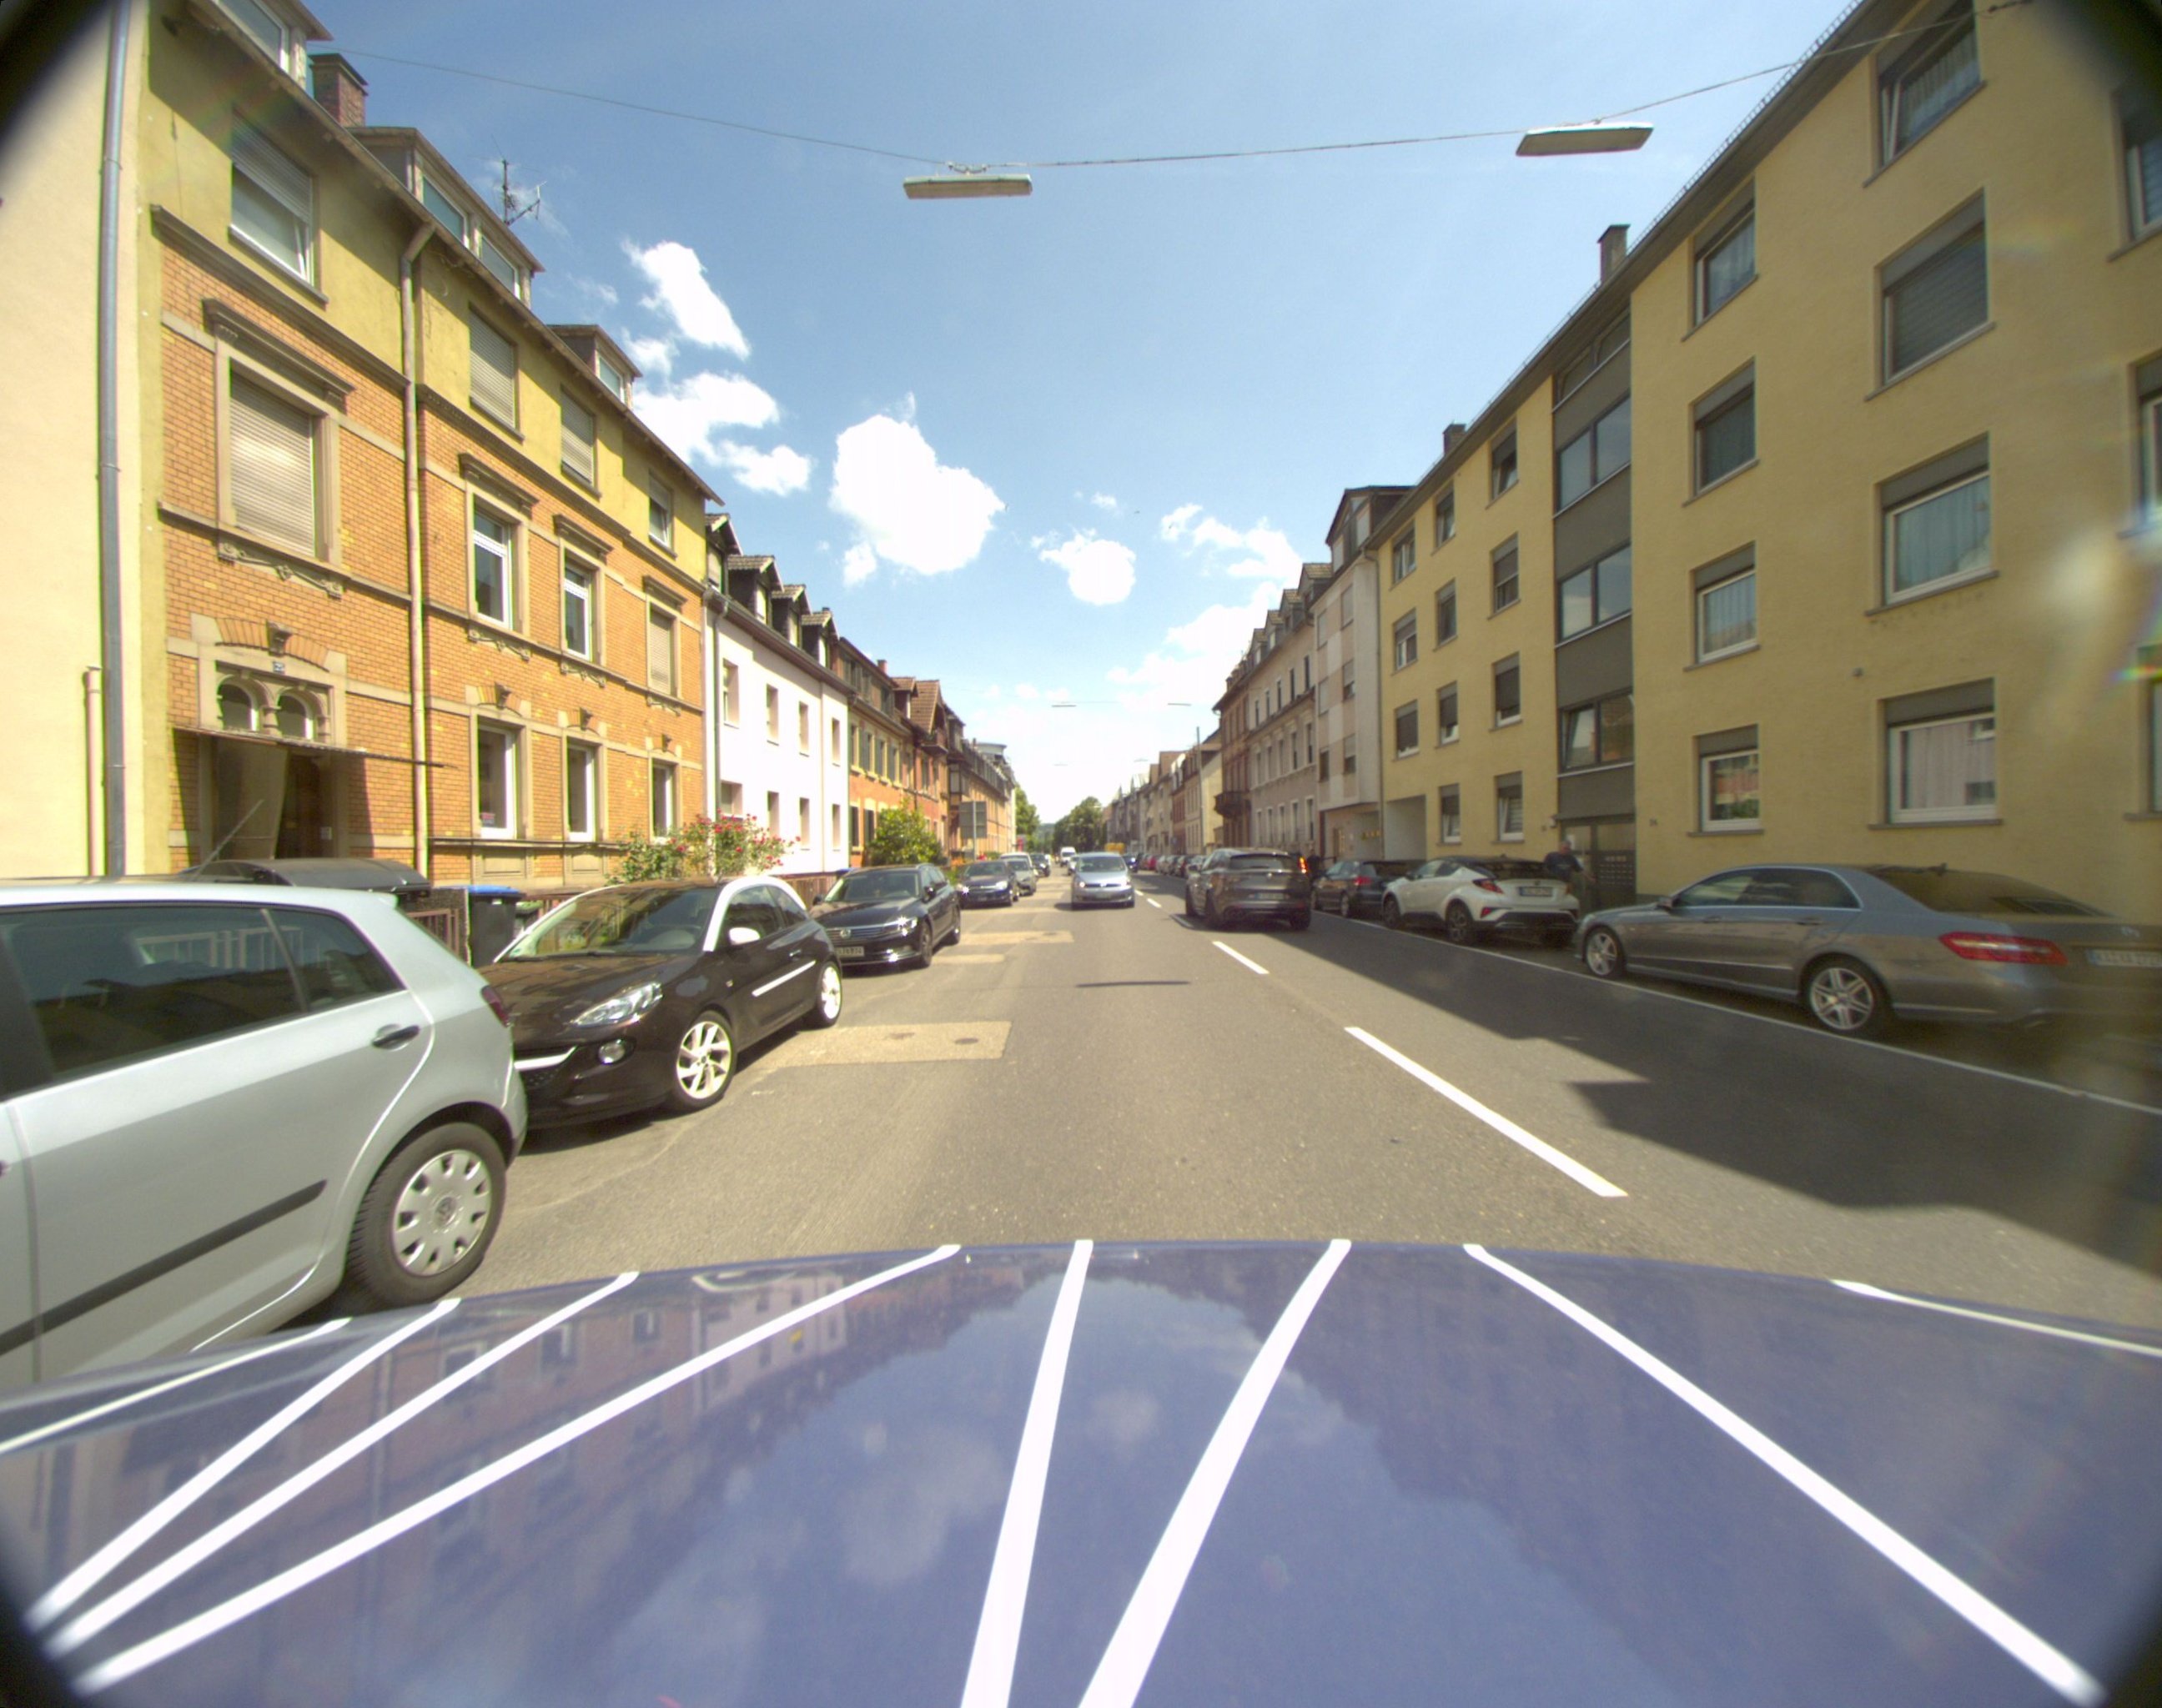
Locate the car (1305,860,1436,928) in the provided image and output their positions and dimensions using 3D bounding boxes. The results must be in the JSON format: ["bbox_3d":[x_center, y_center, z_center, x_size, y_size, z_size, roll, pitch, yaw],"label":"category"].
[{"bbox_3d":[6.987,0.900,18.797,1.749,1.402,3.915,2,0,1],"label":"car"}]

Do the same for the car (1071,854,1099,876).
[{"bbox_3d":[0.303,0.782,55.524,1.904,1.489,4.487,-2,0,2],"label":"car"}]

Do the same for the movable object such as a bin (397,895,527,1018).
[{"bbox_3d":[-6.486,1.047,8.002,0.723,1.181,0.747,-1,1,-1],"label":"movable object such as a bin"}]

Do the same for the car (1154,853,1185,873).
[{"bbox_3d":[6.951,0.686,60.224,1.749,1.402,4.103,2,0,-3],"label":"car"}]

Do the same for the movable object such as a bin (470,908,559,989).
[{"bbox_3d":[-7.035,1.164,9.459,0.626,0.923,0.612,-1,1,-1],"label":"movable object such as a bin"}]

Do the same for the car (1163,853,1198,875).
[{"bbox_3d":[7.100,0.687,54.511,1.749,1.402,4.103,2,0,-3],"label":"car"}]

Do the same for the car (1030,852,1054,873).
[{"bbox_3d":[-3.161,0.673,62.394,1.708,1.618,3.930,-3,0,0],"label":"car"}]

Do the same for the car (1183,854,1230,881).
[{"bbox_3d":[7.116,0.746,43.392,1.749,1.402,4.103,2,0,-3],"label":"car"}]

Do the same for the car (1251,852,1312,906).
[{"bbox_3d":[6.695,0.767,25.319,1.746,1.579,3.958,2,0,16],"label":"car"}]

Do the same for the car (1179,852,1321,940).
[{"bbox_3d":[3.376,0.757,16.107,1.913,1.601,4.446,0,0,-1],"label":"car"}]

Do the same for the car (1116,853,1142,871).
[{"bbox_3d":[3.793,0.622,60.699,1.810,1.425,4.000,1,0,0],"label":"car"}]

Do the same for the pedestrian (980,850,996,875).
[{"bbox_3d":[-7.059,0.624,57.442,1.056,1.851,0.981,-1,1,0],"label":"pedestrian"}]

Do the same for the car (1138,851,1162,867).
[{"bbox_3d":[6.521,0.430,72.217,1.665,1.402,4.103,2,0,-3],"label":"car"}]

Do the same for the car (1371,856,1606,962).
[{"bbox_3d":[7.069,0.846,13.795,1.869,1.542,4.313,2,0,0],"label":"car"}]

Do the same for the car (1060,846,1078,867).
[{"bbox_3d":[-1.375,0.310,87.849,1.905,2.261,5.671,-2,0,-1],"label":"car"}]

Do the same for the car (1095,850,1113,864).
[{"bbox_3d":[2.550,0.355,84.552,1.810,1.522,4.000,1,0,0],"label":"car"}]

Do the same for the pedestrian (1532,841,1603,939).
[{"bbox_3d":[8.945,0.647,13.996,0.804,1.746,0.876,-1,1,8],"label":"pedestrian"}]

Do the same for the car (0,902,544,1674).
[{"bbox_3d":[-3.238,1.033,1.187,1.762,1.542,4.066,-3,0,1],"label":"car"}]

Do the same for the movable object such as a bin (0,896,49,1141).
[{"bbox_3d":[-6.831,0.956,3.831,1.285,1.388,1.413,-1,0,1],"label":"movable object such as a bin"}]

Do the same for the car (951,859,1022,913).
[{"bbox_3d":[-2.933,0.944,24.259,1.708,1.470,3.930,-3,0,0],"label":"car"}]

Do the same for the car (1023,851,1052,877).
[{"bbox_3d":[-2.985,0.682,52.822,1.708,1.618,3.930,-3,0,0],"label":"car"}]

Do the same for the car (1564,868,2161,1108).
[{"bbox_3d":[7.130,0.944,7.333,1.909,1.443,4.686,2,0,0],"label":"car"}]

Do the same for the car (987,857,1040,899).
[{"bbox_3d":[-2.633,0.905,30.299,1.708,1.470,3.930,-3,0,0],"label":"car"}]

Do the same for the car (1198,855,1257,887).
[{"bbox_3d":[7.047,0.789,37.041,1.749,1.402,4.512,2,0,-3],"label":"car"}]

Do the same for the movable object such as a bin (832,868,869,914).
[{"bbox_3d":[-6.383,1.010,21.093,0.753,1.235,0.877,-1,1,-1],"label":"movable object such as a bin"}]

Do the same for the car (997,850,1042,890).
[{"bbox_3d":[-2.856,0.703,35.897,1.708,1.700,3.930,-3,0,0],"label":"car"}]

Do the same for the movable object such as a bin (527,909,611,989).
[{"bbox_3d":[-6.388,1.170,9.504,0.626,0.923,0.612,-1,1,-1],"label":"movable object such as a bin"}]

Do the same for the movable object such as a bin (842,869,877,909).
[{"bbox_3d":[-6.394,0.991,21.937,0.753,1.091,0.877,-1,1,-1],"label":"movable object such as a bin"}]

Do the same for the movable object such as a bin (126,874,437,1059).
[{"bbox_3d":[-6.808,0.898,6.601,1.285,1.402,1.305,-1,0,1],"label":"movable object such as a bin"}]

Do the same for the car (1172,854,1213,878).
[{"bbox_3d":[7.128,0.746,49.010,1.749,1.402,4.103,2,0,-3],"label":"car"}]

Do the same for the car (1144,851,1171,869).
[{"bbox_3d":[6.668,0.493,66.772,1.665,1.402,4.103,2,0,-3],"label":"car"}]

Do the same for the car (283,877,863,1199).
[{"bbox_3d":[-3.236,1.032,5.959,1.762,1.470,3.931,-3,0,1],"label":"car"}]

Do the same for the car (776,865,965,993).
[{"bbox_3d":[-3.051,1.001,12.021,1.762,1.470,4.418,-3,0,-1],"label":"car"}]

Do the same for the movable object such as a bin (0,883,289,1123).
[{"bbox_3d":[-6.843,0.928,5.248,1.285,1.388,1.364,-1,0,1],"label":"movable object such as a bin"}]

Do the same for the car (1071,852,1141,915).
[{"bbox_3d":[0.652,0.770,21.594,1.759,1.559,4.000,-2,0,0],"label":"car"}]

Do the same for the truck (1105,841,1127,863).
[{"bbox_3d":[4.529,-0.210,99.027,2.323,2.725,8.067,-1,0,-1],"label":"truck"}]
